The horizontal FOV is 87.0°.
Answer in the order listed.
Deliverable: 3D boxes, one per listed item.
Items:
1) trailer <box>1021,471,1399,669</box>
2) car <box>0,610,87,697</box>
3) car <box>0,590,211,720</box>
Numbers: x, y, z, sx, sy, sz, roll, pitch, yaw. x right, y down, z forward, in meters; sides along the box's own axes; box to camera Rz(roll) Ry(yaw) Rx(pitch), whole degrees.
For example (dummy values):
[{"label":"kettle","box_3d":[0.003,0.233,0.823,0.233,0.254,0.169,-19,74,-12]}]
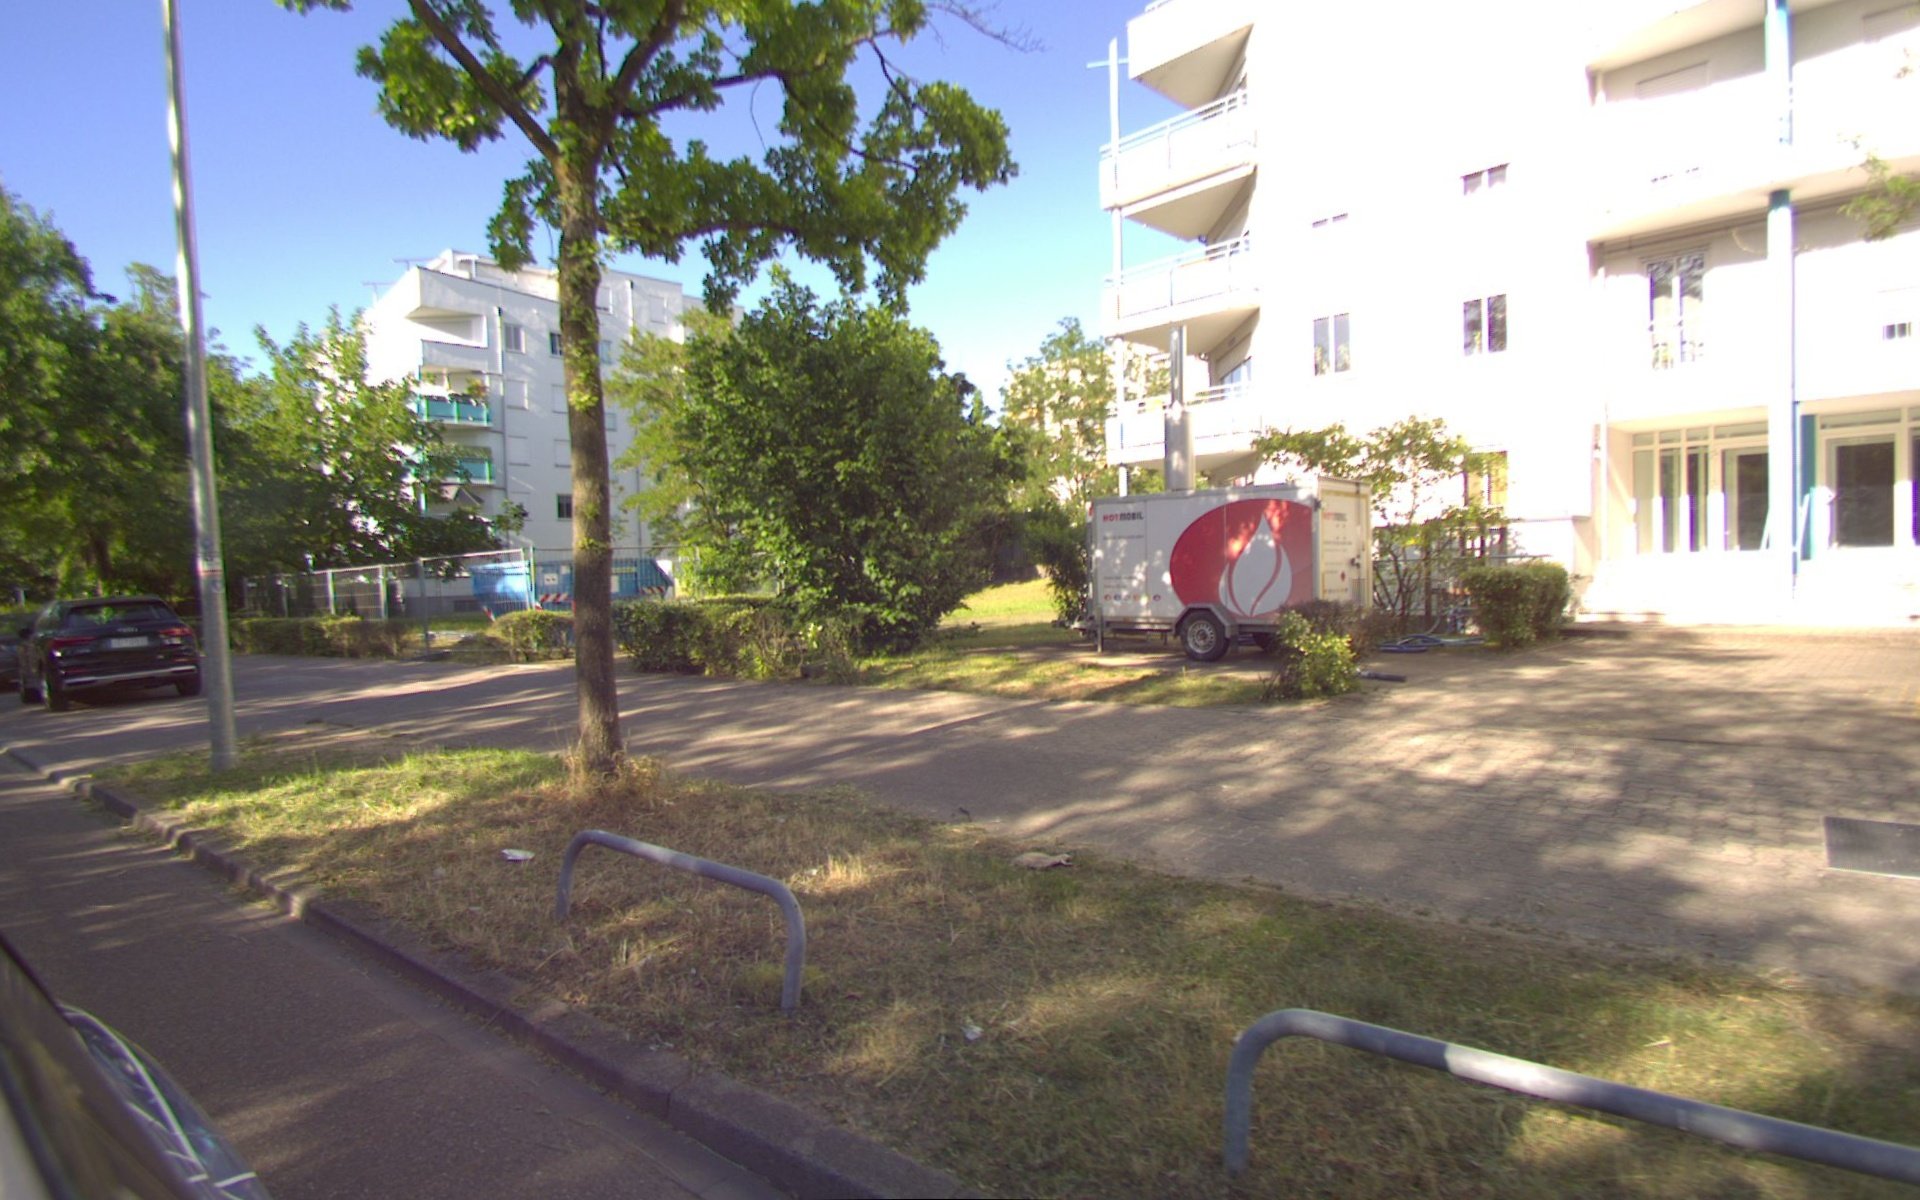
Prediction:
[{"label":"trailer","box_3d":[3.092,-0.356,13.115,4.347,2.135,1.843,-1,3,44]},{"label":"car","box_3d":[-18.505,1.024,19.460,4.130,1.443,1.701,-2,3,37]},{"label":"car","box_3d":[-13.259,0.773,15.600,4.218,1.633,1.758,-1,3,41]}]
